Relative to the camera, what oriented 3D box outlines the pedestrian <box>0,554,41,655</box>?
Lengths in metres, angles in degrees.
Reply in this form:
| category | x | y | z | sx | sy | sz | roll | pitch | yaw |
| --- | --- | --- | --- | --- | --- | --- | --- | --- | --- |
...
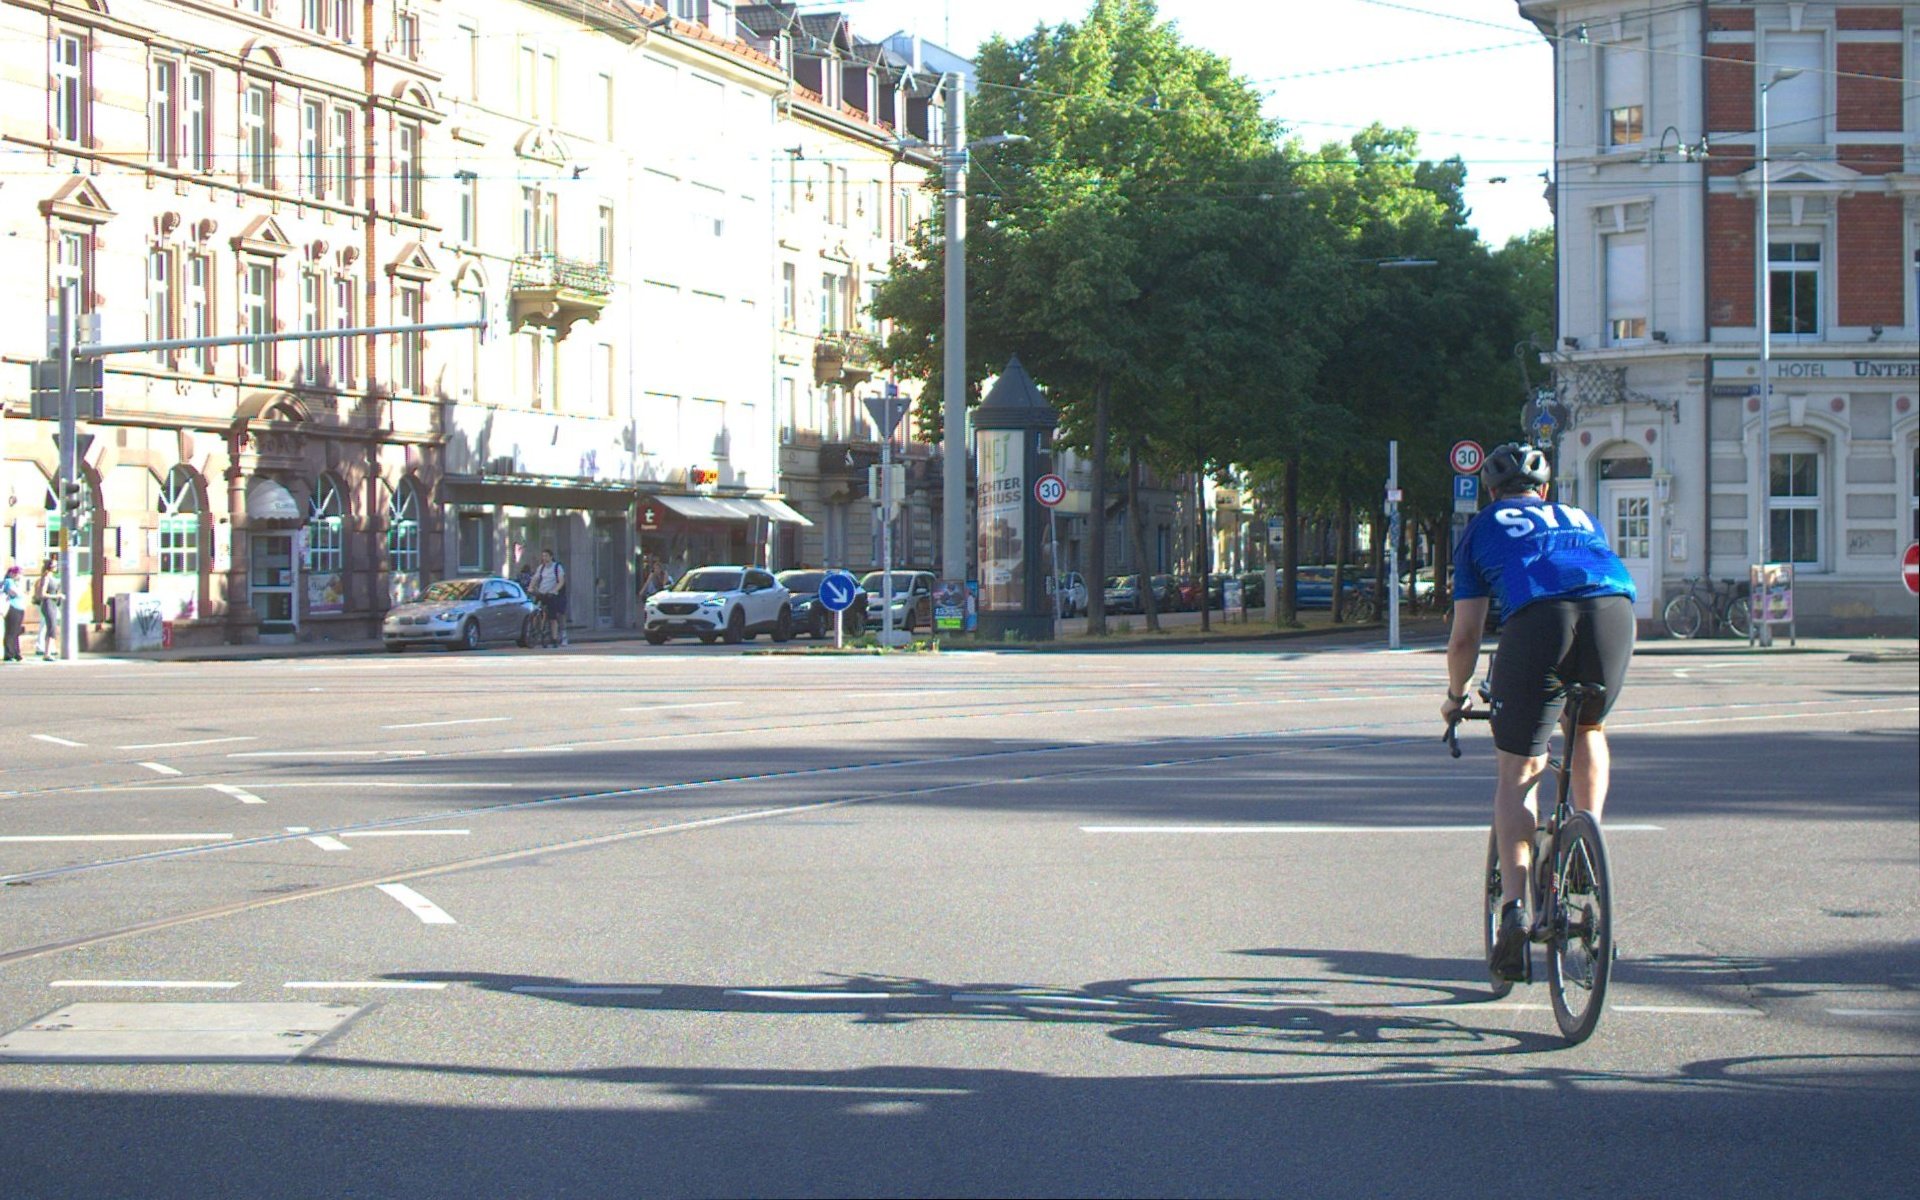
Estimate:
| category | x | y | z | sx | sy | sz | roll | pitch | yaw |
| --- | --- | --- | --- | --- | --- | --- | --- | --- | --- |
| pedestrian | -15.338 | 0.063 | 55.905 | 0.633 | 1.628 | 0.701 | 1 | 0 | -4 |

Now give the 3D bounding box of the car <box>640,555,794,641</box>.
| category | x | y | z | sx | sy | sz | roll | pitch | yaw |
| --- | --- | --- | --- | --- | --- | --- | --- | --- | --- |
| car | -4.739 | -0.047 | 67.523 | 1.994 | 1.612 | 3.998 | 1 | 1 | 11 |

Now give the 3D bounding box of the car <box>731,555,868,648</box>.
| category | x | y | z | sx | sy | sz | roll | pitch | yaw |
| --- | --- | --- | --- | --- | --- | --- | --- | --- | --- |
| car | -3.413 | 0.019 | 73.678 | 1.994 | 1.897 | 3.998 | 1 | 1 | 11 |

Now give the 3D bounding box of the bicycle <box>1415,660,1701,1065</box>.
| category | x | y | z | sx | sy | sz | roll | pitch | yaw |
| --- | --- | --- | --- | --- | --- | --- | --- | --- | --- |
| bicycle | 1.792 | 0.752 | 10.512 | 0.626 | 1.081 | 1.703 | 1 | 1 | 2 |

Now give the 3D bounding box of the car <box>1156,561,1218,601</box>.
| category | x | y | z | sx | sy | sz | roll | pitch | yaw |
| --- | --- | --- | --- | --- | --- | --- | --- | --- | --- |
| car | 8.727 | -0.732 | 131.904 | 1.560 | 1.508 | 3.653 | 1 | 1 | 17 |

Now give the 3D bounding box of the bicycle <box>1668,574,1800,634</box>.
| category | x | y | z | sx | sy | sz | roll | pitch | yaw |
| --- | --- | --- | --- | --- | --- | --- | --- | --- | --- |
| bicycle | 12.838 | 0.066 | 57.070 | 2.049 | 0.994 | 0.630 | 0 | 0 | 3 |

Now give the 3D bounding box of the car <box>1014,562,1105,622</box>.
| category | x | y | z | sx | sy | sz | roll | pitch | yaw |
| --- | --- | --- | --- | --- | --- | --- | --- | --- | --- |
| car | 3.282 | -0.278 | 112.701 | 1.995 | 1.897 | 3.997 | 1 | 1 | 17 |

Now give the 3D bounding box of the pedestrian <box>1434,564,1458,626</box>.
| category | x | y | z | sx | sy | sz | roll | pitch | yaw |
| --- | --- | --- | --- | --- | --- | --- | --- | --- | --- |
| pedestrian | 14.063 | -0.147 | 99.450 | 0.640 | 1.790 | 0.490 | 1 | 0 | 12 |

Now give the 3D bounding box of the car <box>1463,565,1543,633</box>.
| category | x | y | z | sx | sy | sz | roll | pitch | yaw |
| --- | --- | --- | --- | --- | --- | --- | --- | --- | --- |
| car | 13.066 | -0.037 | 82.589 | 1.692 | 1.559 | 3.839 | 1 | 1 | 11 |

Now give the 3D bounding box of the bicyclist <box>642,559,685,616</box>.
| category | x | y | z | sx | sy | sz | roll | pitch | yaw |
| --- | --- | --- | --- | --- | --- | --- | --- | --- | --- |
| bicyclist | -6.214 | -0.273 | 72.082 | 0.632 | 1.181 | 0.684 | 1 | 0 | 21 |

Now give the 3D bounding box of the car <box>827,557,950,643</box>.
| category | x | y | z | sx | sy | sz | roll | pitch | yaw |
| --- | --- | --- | --- | --- | --- | --- | --- | --- | --- |
| car | -1.627 | -0.017 | 79.796 | 1.994 | 1.897 | 3.998 | 1 | 1 | 11 |

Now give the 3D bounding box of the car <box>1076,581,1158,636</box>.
| category | x | y | z | sx | sy | sz | roll | pitch | yaw |
| --- | --- | --- | --- | --- | --- | --- | --- | --- | --- |
| car | 5.629 | 0.296 | 122.632 | 1.995 | 1.897 | 3.997 | 1 | 1 | 17 |

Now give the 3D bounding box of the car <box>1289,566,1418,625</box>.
| category | x | y | z | sx | sy | sz | roll | pitch | yaw |
| --- | --- | --- | --- | --- | --- | --- | --- | --- | --- |
| car | 13.163 | -0.164 | 114.970 | 3.990 | 1.897 | 1.998 | 1 | 0 | 16 |

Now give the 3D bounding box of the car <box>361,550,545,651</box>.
| category | x | y | z | sx | sy | sz | roll | pitch | yaw |
| --- | --- | --- | --- | --- | --- | --- | --- | --- | --- |
| car | -9.854 | -0.004 | 67.108 | 1.995 | 1.897 | 3.997 | 1 | 1 | 17 |

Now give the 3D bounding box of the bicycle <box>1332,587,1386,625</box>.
| category | x | y | z | sx | sy | sz | roll | pitch | yaw |
| --- | --- | --- | --- | --- | --- | --- | --- | --- | --- |
| bicycle | 11.505 | 0.168 | 99.068 | 0.626 | 1.081 | 1.703 | 1 | 1 | -31 |

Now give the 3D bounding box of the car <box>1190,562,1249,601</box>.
| category | x | y | z | sx | sy | sz | roll | pitch | yaw |
| --- | --- | --- | --- | --- | --- | --- | --- | --- | --- |
| car | 10.288 | -0.745 | 136.152 | 1.560 | 1.508 | 3.653 | 1 | 1 | 17 |

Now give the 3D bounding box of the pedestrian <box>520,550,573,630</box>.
| category | x | y | z | sx | sy | sz | roll | pitch | yaw |
| --- | --- | --- | --- | --- | --- | --- | --- | --- | --- |
| pedestrian | -7.833 | -0.189 | 65.207 | 0.821 | 1.507 | 0.598 | 1 | 0 | 15 |

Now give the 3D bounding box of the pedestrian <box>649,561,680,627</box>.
| category | x | y | z | sx | sy | sz | roll | pitch | yaw |
| --- | --- | --- | --- | --- | --- | --- | --- | --- | --- |
| pedestrian | -7.296 | -0.149 | 84.849 | 0.544 | 1.626 | 0.706 | 1 | 0 | 13 |

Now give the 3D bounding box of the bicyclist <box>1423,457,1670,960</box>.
| category | x | y | z | sx | sy | sz | roll | pitch | yaw |
| --- | --- | --- | --- | --- | --- | --- | --- | --- | --- |
| bicyclist | 1.802 | 0.304 | 10.662 | 0.639 | 1.489 | 0.883 | 1 | 2 | 4 |

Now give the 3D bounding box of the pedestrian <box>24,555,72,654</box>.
| category | x | y | z | sx | sy | sz | roll | pitch | yaw |
| --- | --- | --- | --- | --- | --- | --- | --- | --- | --- |
| pedestrian | -15.168 | 0.076 | 57.195 | 0.633 | 1.628 | 0.701 | 1 | 0 | -4 |

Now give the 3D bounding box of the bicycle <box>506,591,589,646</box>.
| category | x | y | z | sx | sy | sz | roll | pitch | yaw |
| --- | --- | --- | --- | --- | --- | --- | --- | --- | --- |
| bicycle | -7.819 | 0.338 | 65.286 | 0.763 | 1.004 | 2.395 | 1 | 1 | 13 |
